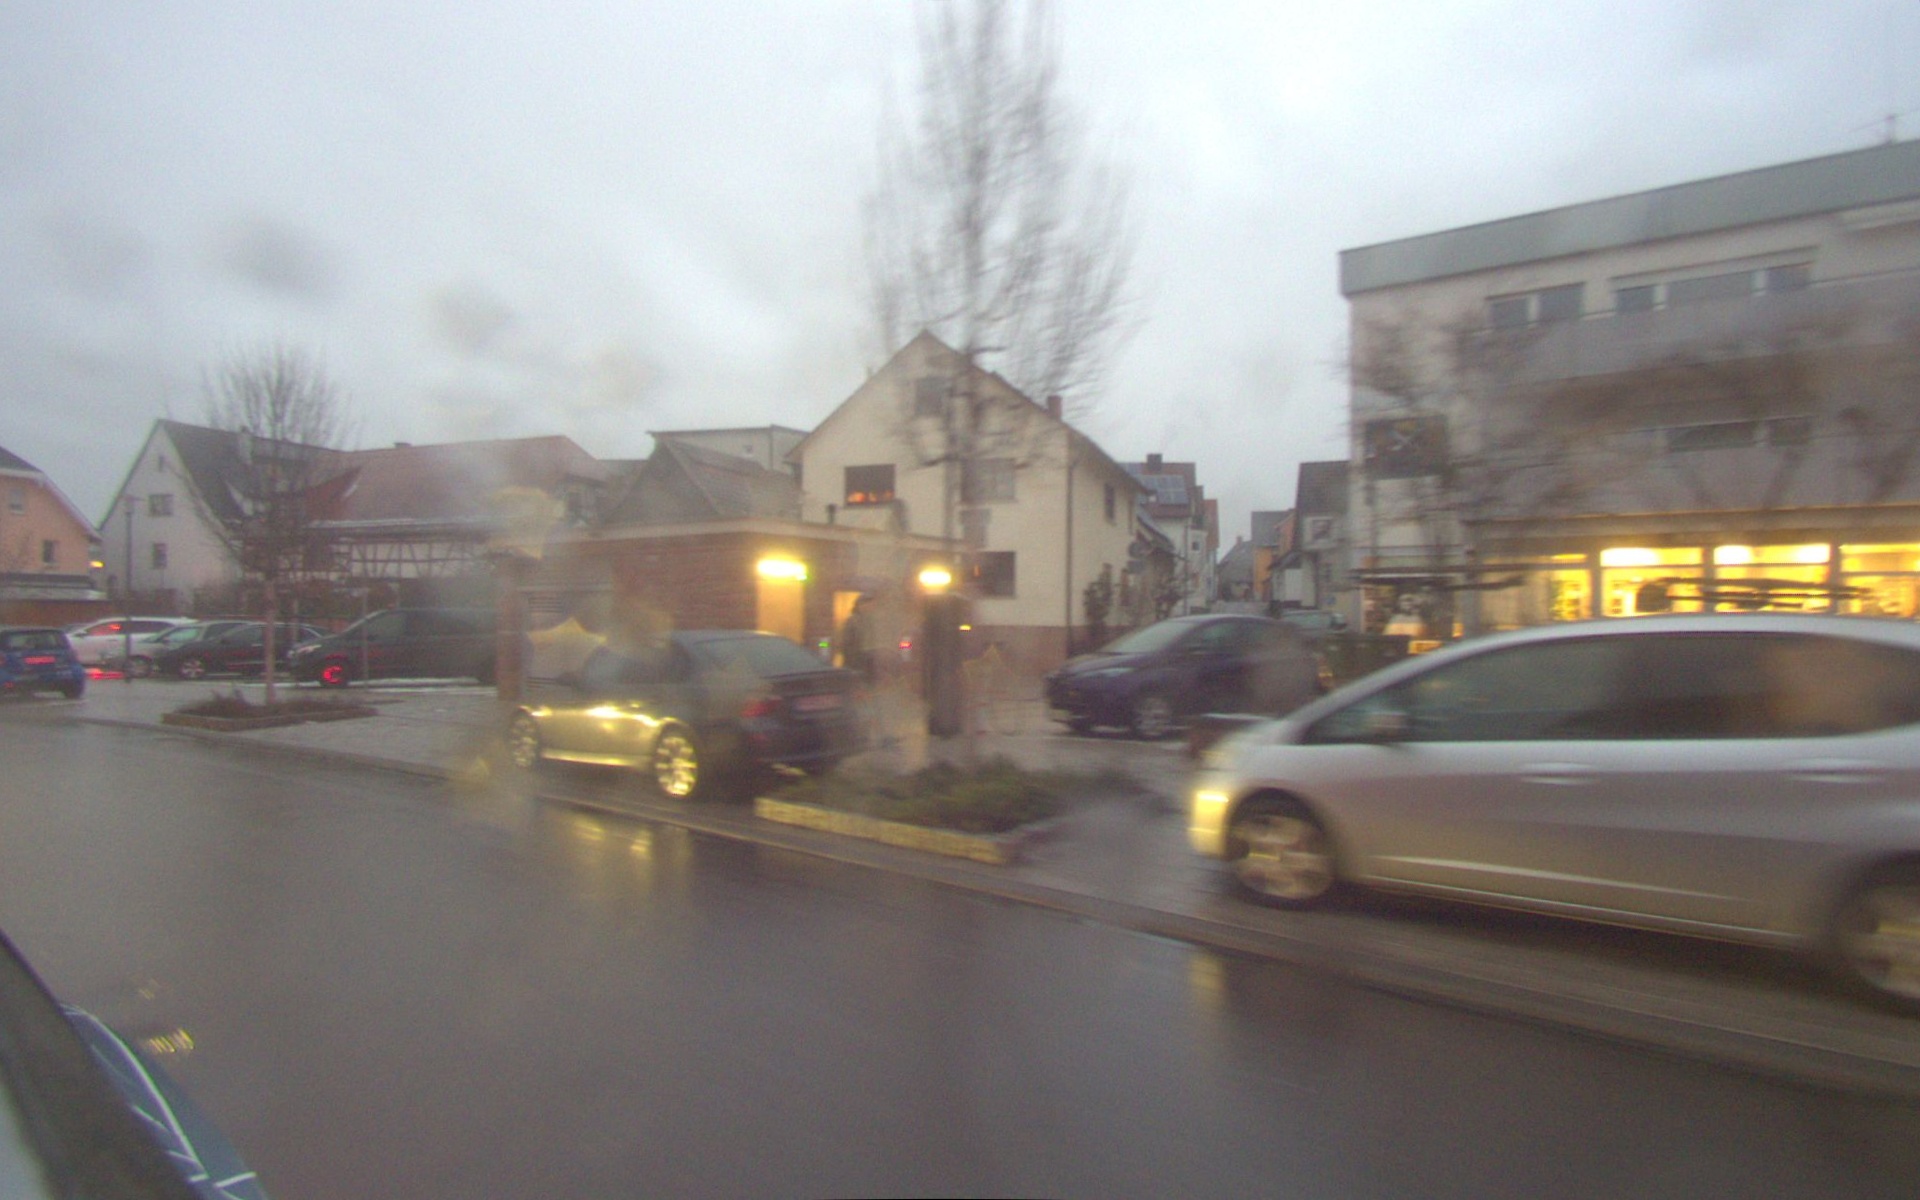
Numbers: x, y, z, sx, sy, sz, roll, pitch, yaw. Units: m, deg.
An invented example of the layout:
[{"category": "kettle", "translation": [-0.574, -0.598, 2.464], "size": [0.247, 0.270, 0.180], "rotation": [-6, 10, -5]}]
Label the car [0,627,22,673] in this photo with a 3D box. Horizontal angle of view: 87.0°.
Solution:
[{"category": "car", "translation": [-32.473, 1.612, 32.044], "size": [1.758, 1.470, 4.014], "rotation": [-2, -2, 45]}]

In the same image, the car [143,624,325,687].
[{"category": "car", "translation": [-19.766, 1.454, 27.712], "size": [3.934, 1.541, 2.005], "rotation": [0, -1, -36]}]

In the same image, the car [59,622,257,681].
[{"category": "car", "translation": [-24.405, 1.516, 30.938], "size": [4.583, 1.666, 1.991], "rotation": [1, -2, -40]}]

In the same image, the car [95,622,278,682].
[{"category": "car", "translation": [-22.166, 1.469, 29.105], "size": [4.048, 1.594, 1.723], "rotation": [2, -3, -40]}]

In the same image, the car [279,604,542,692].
[{"category": "car", "translation": [-13.052, 1.147, 24.232], "size": [5.307, 1.900, 2.079], "rotation": [2, -3, -33]}]

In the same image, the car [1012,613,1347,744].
[{"category": "car", "translation": [2.865, 0.963, 13.149], "size": [4.018, 1.488, 1.745], "rotation": [1, -3, -26]}]

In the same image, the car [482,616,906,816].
[{"category": "car", "translation": [-2.741, 0.935, 9.806], "size": [4.455, 1.483, 1.729], "rotation": [-1, -1, 40]}]

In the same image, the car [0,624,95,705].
[{"category": "car", "translation": [-20.114, 1.308, 21.210], "size": [3.658, 1.547, 1.822], "rotation": [-1, -1, 28]}]

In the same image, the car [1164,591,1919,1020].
[{"category": "car", "translation": [3.104, 0.753, 4.970], "size": [3.769, 1.528, 1.676], "rotation": [-1, 0, 39]}]

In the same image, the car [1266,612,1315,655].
[{"category": "car", "translation": [14.686, 1.473, 44.845], "size": [1.744, 1.813, 3.970], "rotation": [-1, -2, 22]}]

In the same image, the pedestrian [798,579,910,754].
[{"category": "pedestrian", "translation": [-1.208, 0.726, 11.476], "size": [1.060, 1.881, 0.745], "rotation": [-2, -2, 42]}]
